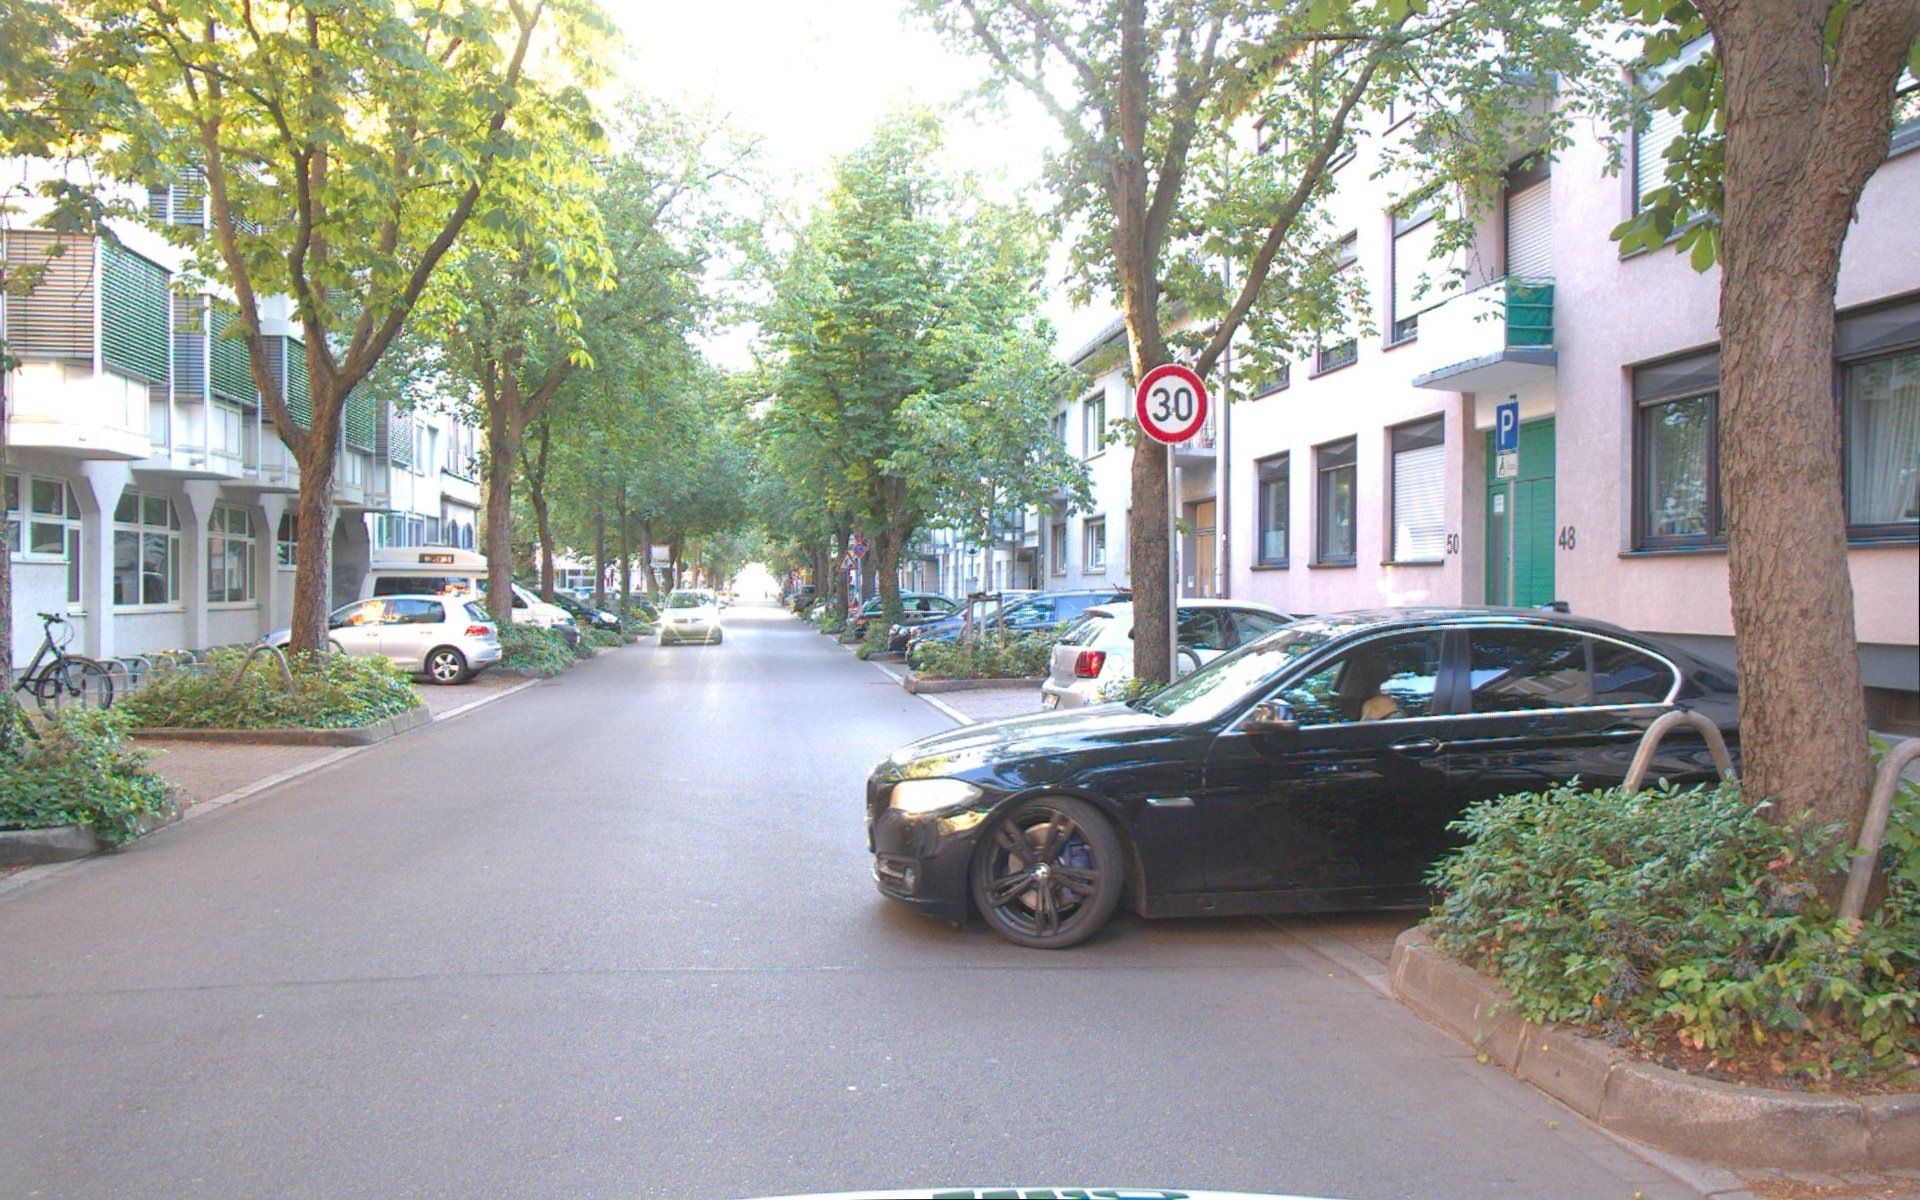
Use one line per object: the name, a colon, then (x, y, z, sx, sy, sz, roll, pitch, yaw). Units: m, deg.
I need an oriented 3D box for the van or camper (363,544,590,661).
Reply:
van or camper: (-10.682, 0.045, 36.875, 4.575, 2.521, 1.997, 0, 0, -7)

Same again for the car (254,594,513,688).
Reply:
car: (-9.871, 0.673, 28.573, 3.892, 1.544, 1.783, 0, 0, -6)

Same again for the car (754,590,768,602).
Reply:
car: (-26.104, -0.518, 217.232, 1.787, 1.557, 3.995, 0, 0, -6)

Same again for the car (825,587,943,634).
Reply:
car: (-2.639, 0.355, 56.773, 3.894, 1.554, 1.782, 0, 0, -9)

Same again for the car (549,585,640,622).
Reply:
car: (-16.738, 0.138, 75.854, 3.891, 1.647, 1.783, 0, 0, -6)

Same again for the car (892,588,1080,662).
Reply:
car: (0.534, 0.518, 36.145, 3.893, 1.554, 1.782, 0, 0, -8)

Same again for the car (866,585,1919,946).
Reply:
car: (1.886, 0.687, 7.972, 4.650, 1.506, 1.799, 0, 0, -3)

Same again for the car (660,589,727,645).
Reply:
car: (-7.901, 0.474, 49.235, 1.745, 1.589, 4.162, 0, 0, -6)

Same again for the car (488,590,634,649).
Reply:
car: (-11.502, 0.553, 47.853, 3.892, 1.647, 1.783, 0, 0, -6)

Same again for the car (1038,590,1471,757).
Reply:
car: (2.796, 0.658, 16.102, 3.836, 1.502, 1.661, 0, 0, -9)

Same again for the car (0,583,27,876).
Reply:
car: (-7.111, 0.696, 7.862, 4.272, 1.544, 1.782, 0, 0, -7)

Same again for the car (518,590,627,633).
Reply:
car: (-15.024, 0.429, 64.266, 3.891, 1.647, 1.783, 0, 0, -6)

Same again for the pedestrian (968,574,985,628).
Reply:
pedestrian: (0.634, 0.051, 62.998, 0.577, 2.049, 0.669, 0, 0, -6)

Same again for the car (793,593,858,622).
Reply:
car: (-8.181, 0.457, 100.638, 3.891, 1.713, 1.783, 0, 0, -6)

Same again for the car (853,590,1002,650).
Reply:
car: (-0.918, 0.527, 44.933, 3.893, 1.554, 1.782, 0, 0, -8)

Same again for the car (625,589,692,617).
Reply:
car: (-18.562, 0.172, 101.853, 3.891, 1.647, 1.783, 0, 0, -6)

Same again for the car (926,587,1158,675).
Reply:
car: (1.428, 0.529, 29.682, 3.894, 1.502, 1.781, 0, 0, -9)
